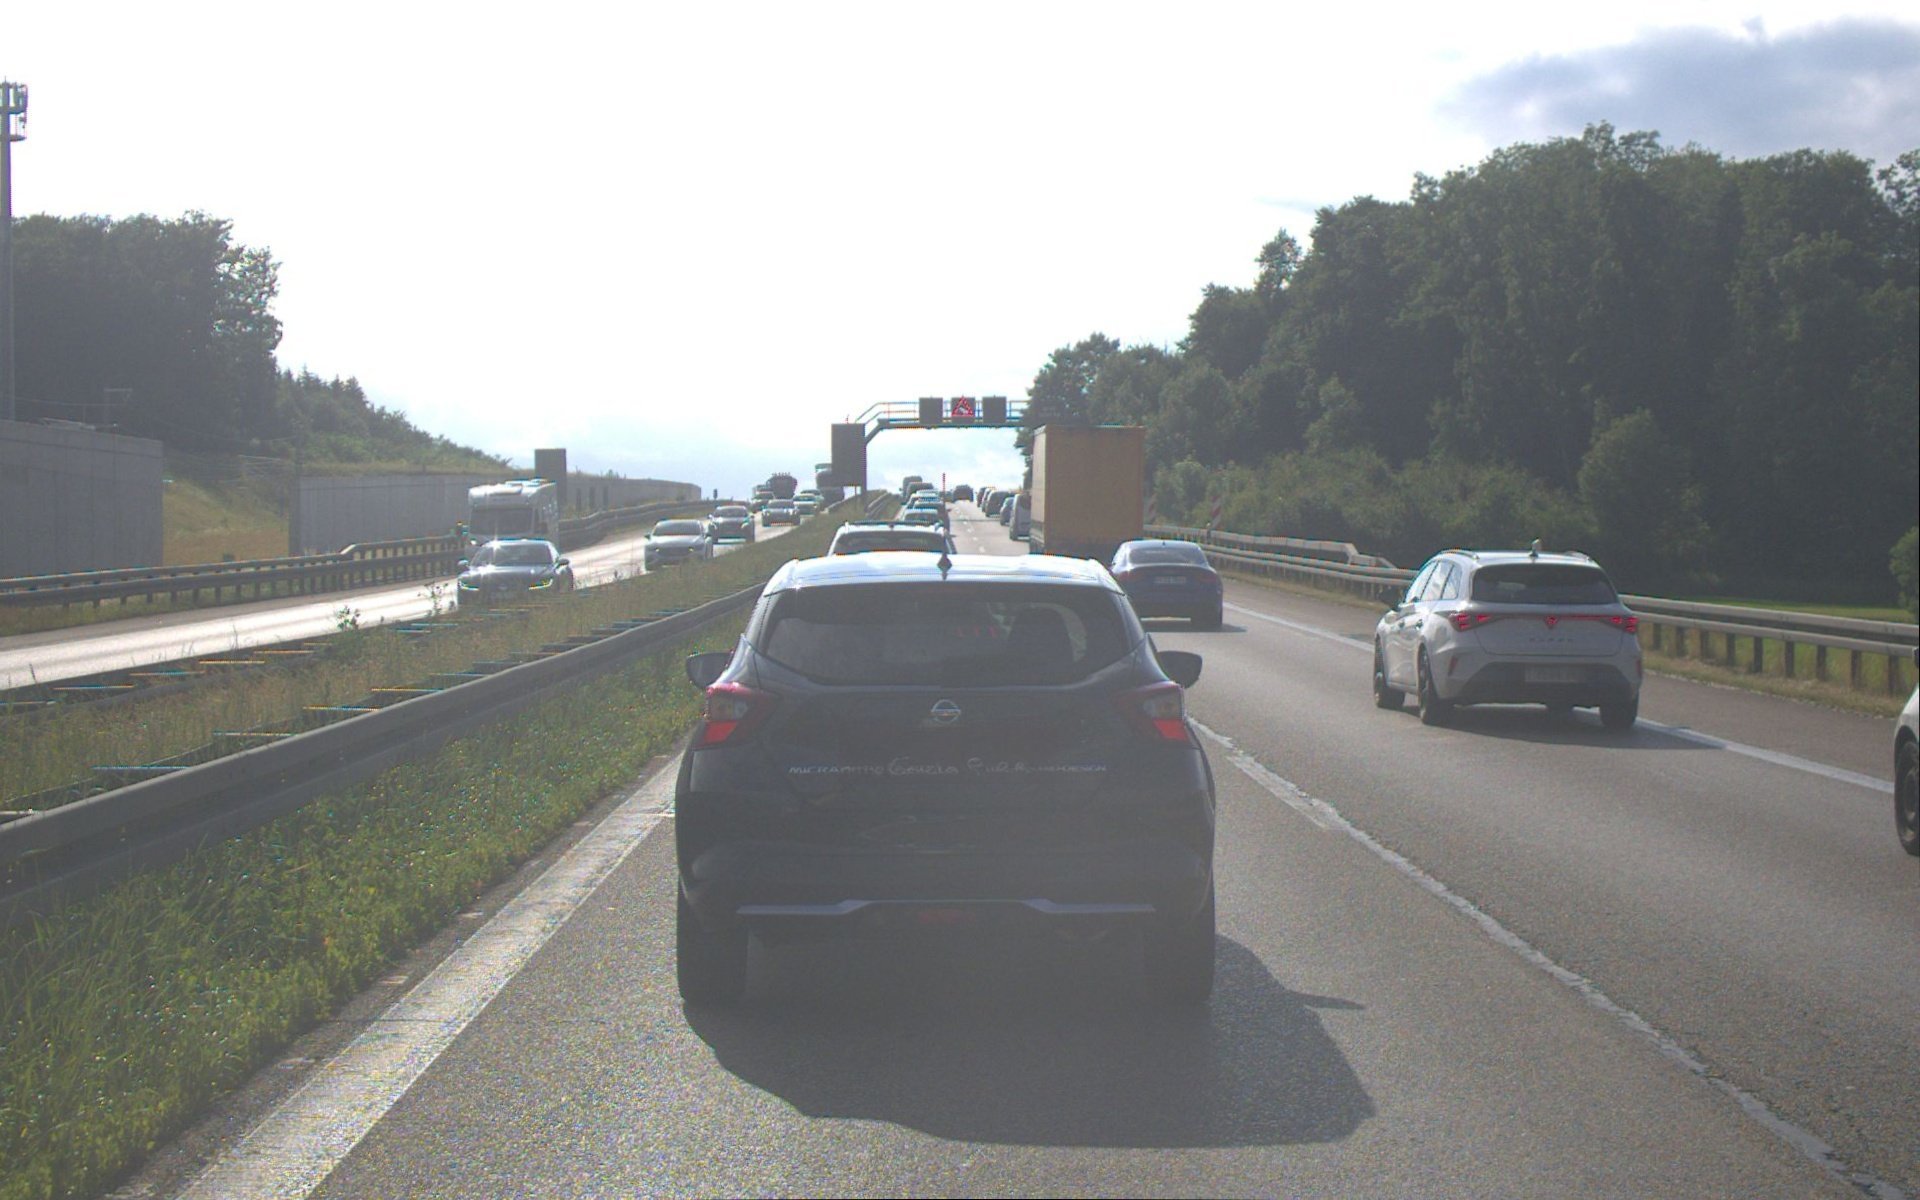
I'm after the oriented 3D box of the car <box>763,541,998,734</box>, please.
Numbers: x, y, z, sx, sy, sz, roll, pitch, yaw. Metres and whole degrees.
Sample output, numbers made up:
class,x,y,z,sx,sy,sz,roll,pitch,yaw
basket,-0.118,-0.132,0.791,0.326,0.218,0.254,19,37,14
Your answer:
class,x,y,z,sx,sy,sz,roll,pitch,yaw
car,-0.550,0.258,26.508,1.674,1.362,3.596,1,0,1

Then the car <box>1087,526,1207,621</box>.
class,x,y,z,sx,sy,sz,roll,pitch,yaw
car,2.997,-0.424,55.709,1.747,1.470,4.147,1,0,1

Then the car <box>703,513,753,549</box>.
class,x,y,z,sx,sy,sz,roll,pitch,yaw
car,-9.784,-2.903,145.159,1.853,1.428,4.449,0,0,-1

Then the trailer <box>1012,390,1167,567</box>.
class,x,y,z,sx,sy,sz,roll,pitch,yaw
trailer,3.395,-3.171,94.222,3.548,4.442,12.722,1,0,-1

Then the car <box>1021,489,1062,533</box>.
class,x,y,z,sx,sy,sz,roll,pitch,yaw
car,3.416,-3.723,143.728,1.667,1.749,3.327,1,0,1

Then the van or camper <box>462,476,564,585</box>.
class,x,y,z,sx,sy,sz,roll,pitch,yaw
van or camper,-13.068,-1.997,100.942,2.225,3.068,6.513,1,0,-1

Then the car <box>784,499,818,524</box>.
class,x,y,z,sx,sy,sz,roll,pitch,yaw
car,-10.038,-5.589,217.389,1.993,1.428,4.449,1,0,-1

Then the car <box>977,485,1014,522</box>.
class,x,y,z,sx,sy,sz,roll,pitch,yaw
car,2.036,-5.563,198.729,1.993,2.007,4.000,1,0,-1

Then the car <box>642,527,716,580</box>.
class,x,y,z,sx,sy,sz,roll,pitch,yaw
car,-8.722,-1.427,106.832,1.993,1.587,4.449,1,0,-1

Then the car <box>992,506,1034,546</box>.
class,x,y,z,sx,sy,sz,roll,pitch,yaw
car,2.724,-3.786,176.805,1.993,2.007,4.000,1,0,-1

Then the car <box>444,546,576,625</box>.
class,x,y,z,sx,sy,sz,roll,pitch,yaw
car,-8.499,-0.279,65.277,1.993,1.428,4.449,1,0,-1

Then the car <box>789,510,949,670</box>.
class,x,y,z,sx,sy,sz,roll,pitch,yaw
car,-0.995,-0.119,39.126,1.674,1.720,3.596,1,0,1

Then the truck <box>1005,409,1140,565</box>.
class,x,y,z,sx,sy,sz,roll,pitch,yaw
truck,3.237,-3.231,100.891,3.581,4.365,6.689,1,0,-1

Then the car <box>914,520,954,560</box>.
class,x,y,z,sx,sy,sz,roll,pitch,yaw
car,-1.157,-2.696,154.894,1.667,1.749,3.327,1,0,1

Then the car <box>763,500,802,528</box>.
class,x,y,z,sx,sy,sz,roll,pitch,yaw
car,-9.697,-4.702,188.227,1.993,1.428,4.449,1,0,-1

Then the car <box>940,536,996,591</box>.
class,x,y,z,sx,sy,sz,roll,pitch,yaw
car,0.274,-1.356,129.139,1.993,2.007,4.000,1,0,-1

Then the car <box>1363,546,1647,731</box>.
class,x,y,z,sx,sy,sz,roll,pitch,yaw
car,4.539,0.288,29.162,1.620,1.441,4.147,1,0,-2

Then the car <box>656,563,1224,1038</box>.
class,x,y,z,sx,sy,sz,roll,pitch,yaw
car,-0.025,0.597,12.115,1.710,1.421,3.378,1,0,1

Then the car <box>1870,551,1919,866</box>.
class,x,y,z,sx,sy,sz,roll,pitch,yaw
car,5.369,0.546,15.465,1.548,1.490,3.378,1,1,-2
